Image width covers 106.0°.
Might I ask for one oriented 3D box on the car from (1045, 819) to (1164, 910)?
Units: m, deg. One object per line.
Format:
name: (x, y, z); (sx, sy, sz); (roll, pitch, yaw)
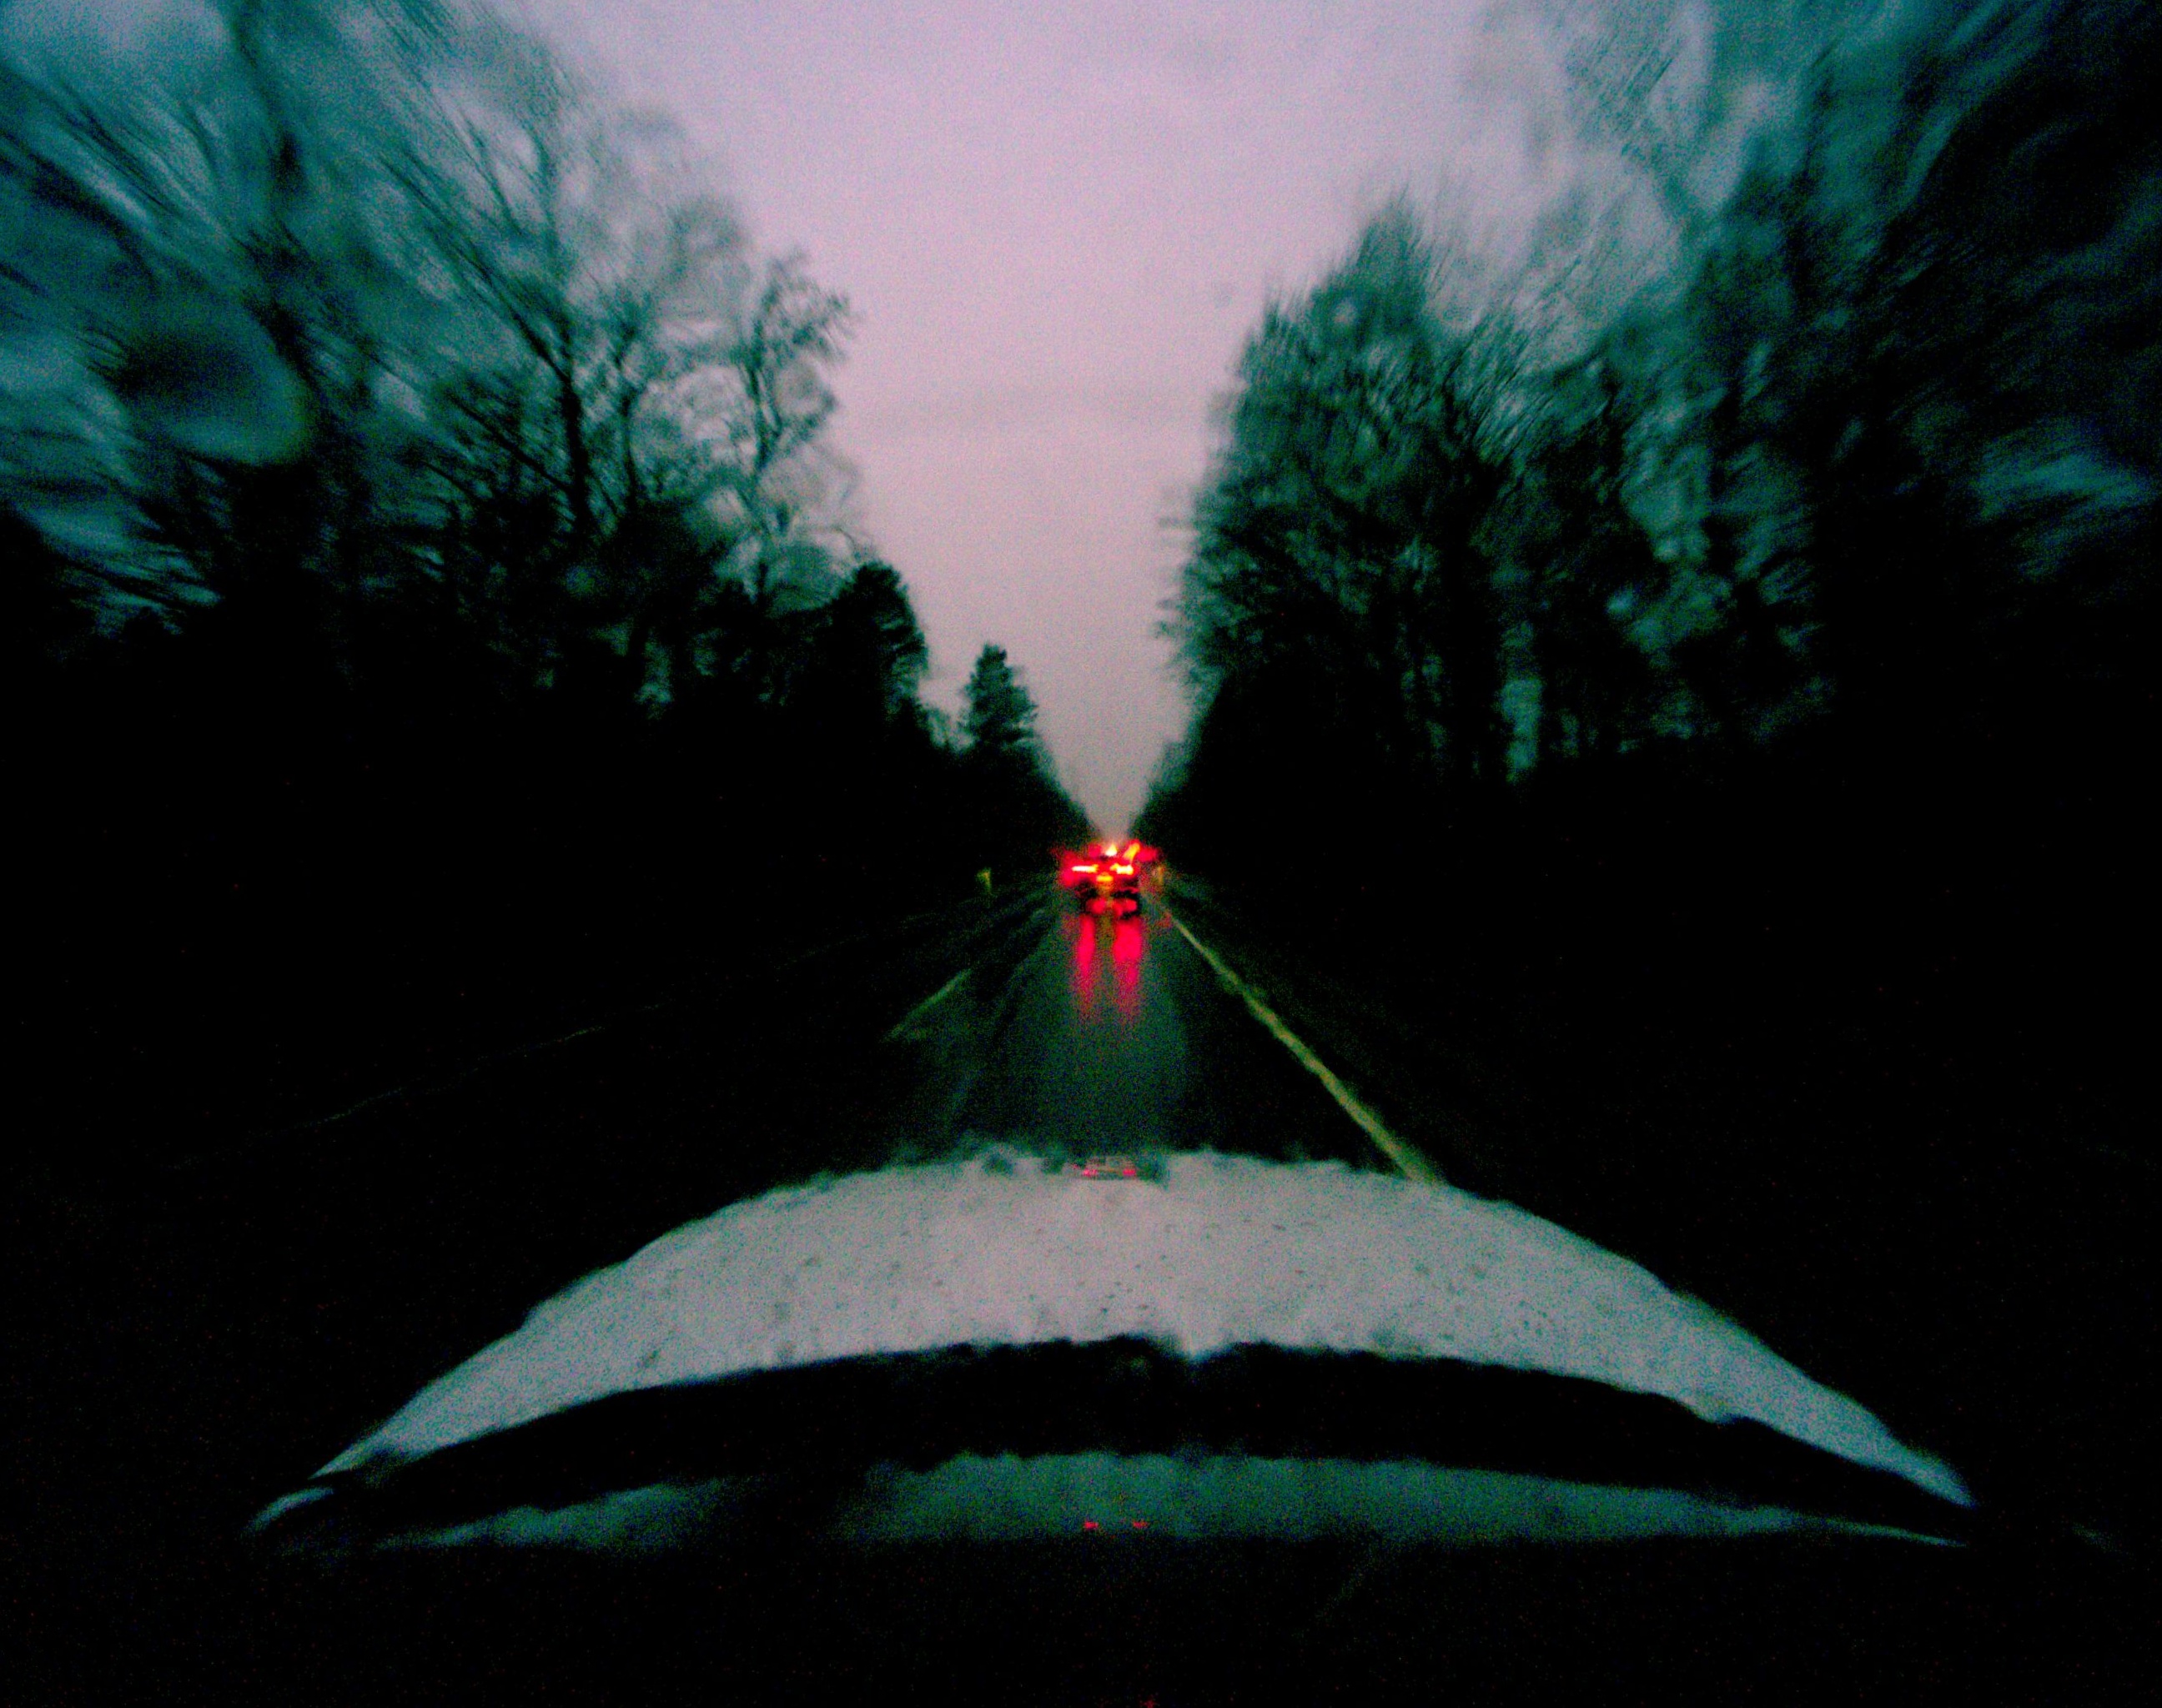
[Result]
car: (0.763, 0.283, 25.277); (3.171, 2.386, 6.640); (-1, 0, 2)
